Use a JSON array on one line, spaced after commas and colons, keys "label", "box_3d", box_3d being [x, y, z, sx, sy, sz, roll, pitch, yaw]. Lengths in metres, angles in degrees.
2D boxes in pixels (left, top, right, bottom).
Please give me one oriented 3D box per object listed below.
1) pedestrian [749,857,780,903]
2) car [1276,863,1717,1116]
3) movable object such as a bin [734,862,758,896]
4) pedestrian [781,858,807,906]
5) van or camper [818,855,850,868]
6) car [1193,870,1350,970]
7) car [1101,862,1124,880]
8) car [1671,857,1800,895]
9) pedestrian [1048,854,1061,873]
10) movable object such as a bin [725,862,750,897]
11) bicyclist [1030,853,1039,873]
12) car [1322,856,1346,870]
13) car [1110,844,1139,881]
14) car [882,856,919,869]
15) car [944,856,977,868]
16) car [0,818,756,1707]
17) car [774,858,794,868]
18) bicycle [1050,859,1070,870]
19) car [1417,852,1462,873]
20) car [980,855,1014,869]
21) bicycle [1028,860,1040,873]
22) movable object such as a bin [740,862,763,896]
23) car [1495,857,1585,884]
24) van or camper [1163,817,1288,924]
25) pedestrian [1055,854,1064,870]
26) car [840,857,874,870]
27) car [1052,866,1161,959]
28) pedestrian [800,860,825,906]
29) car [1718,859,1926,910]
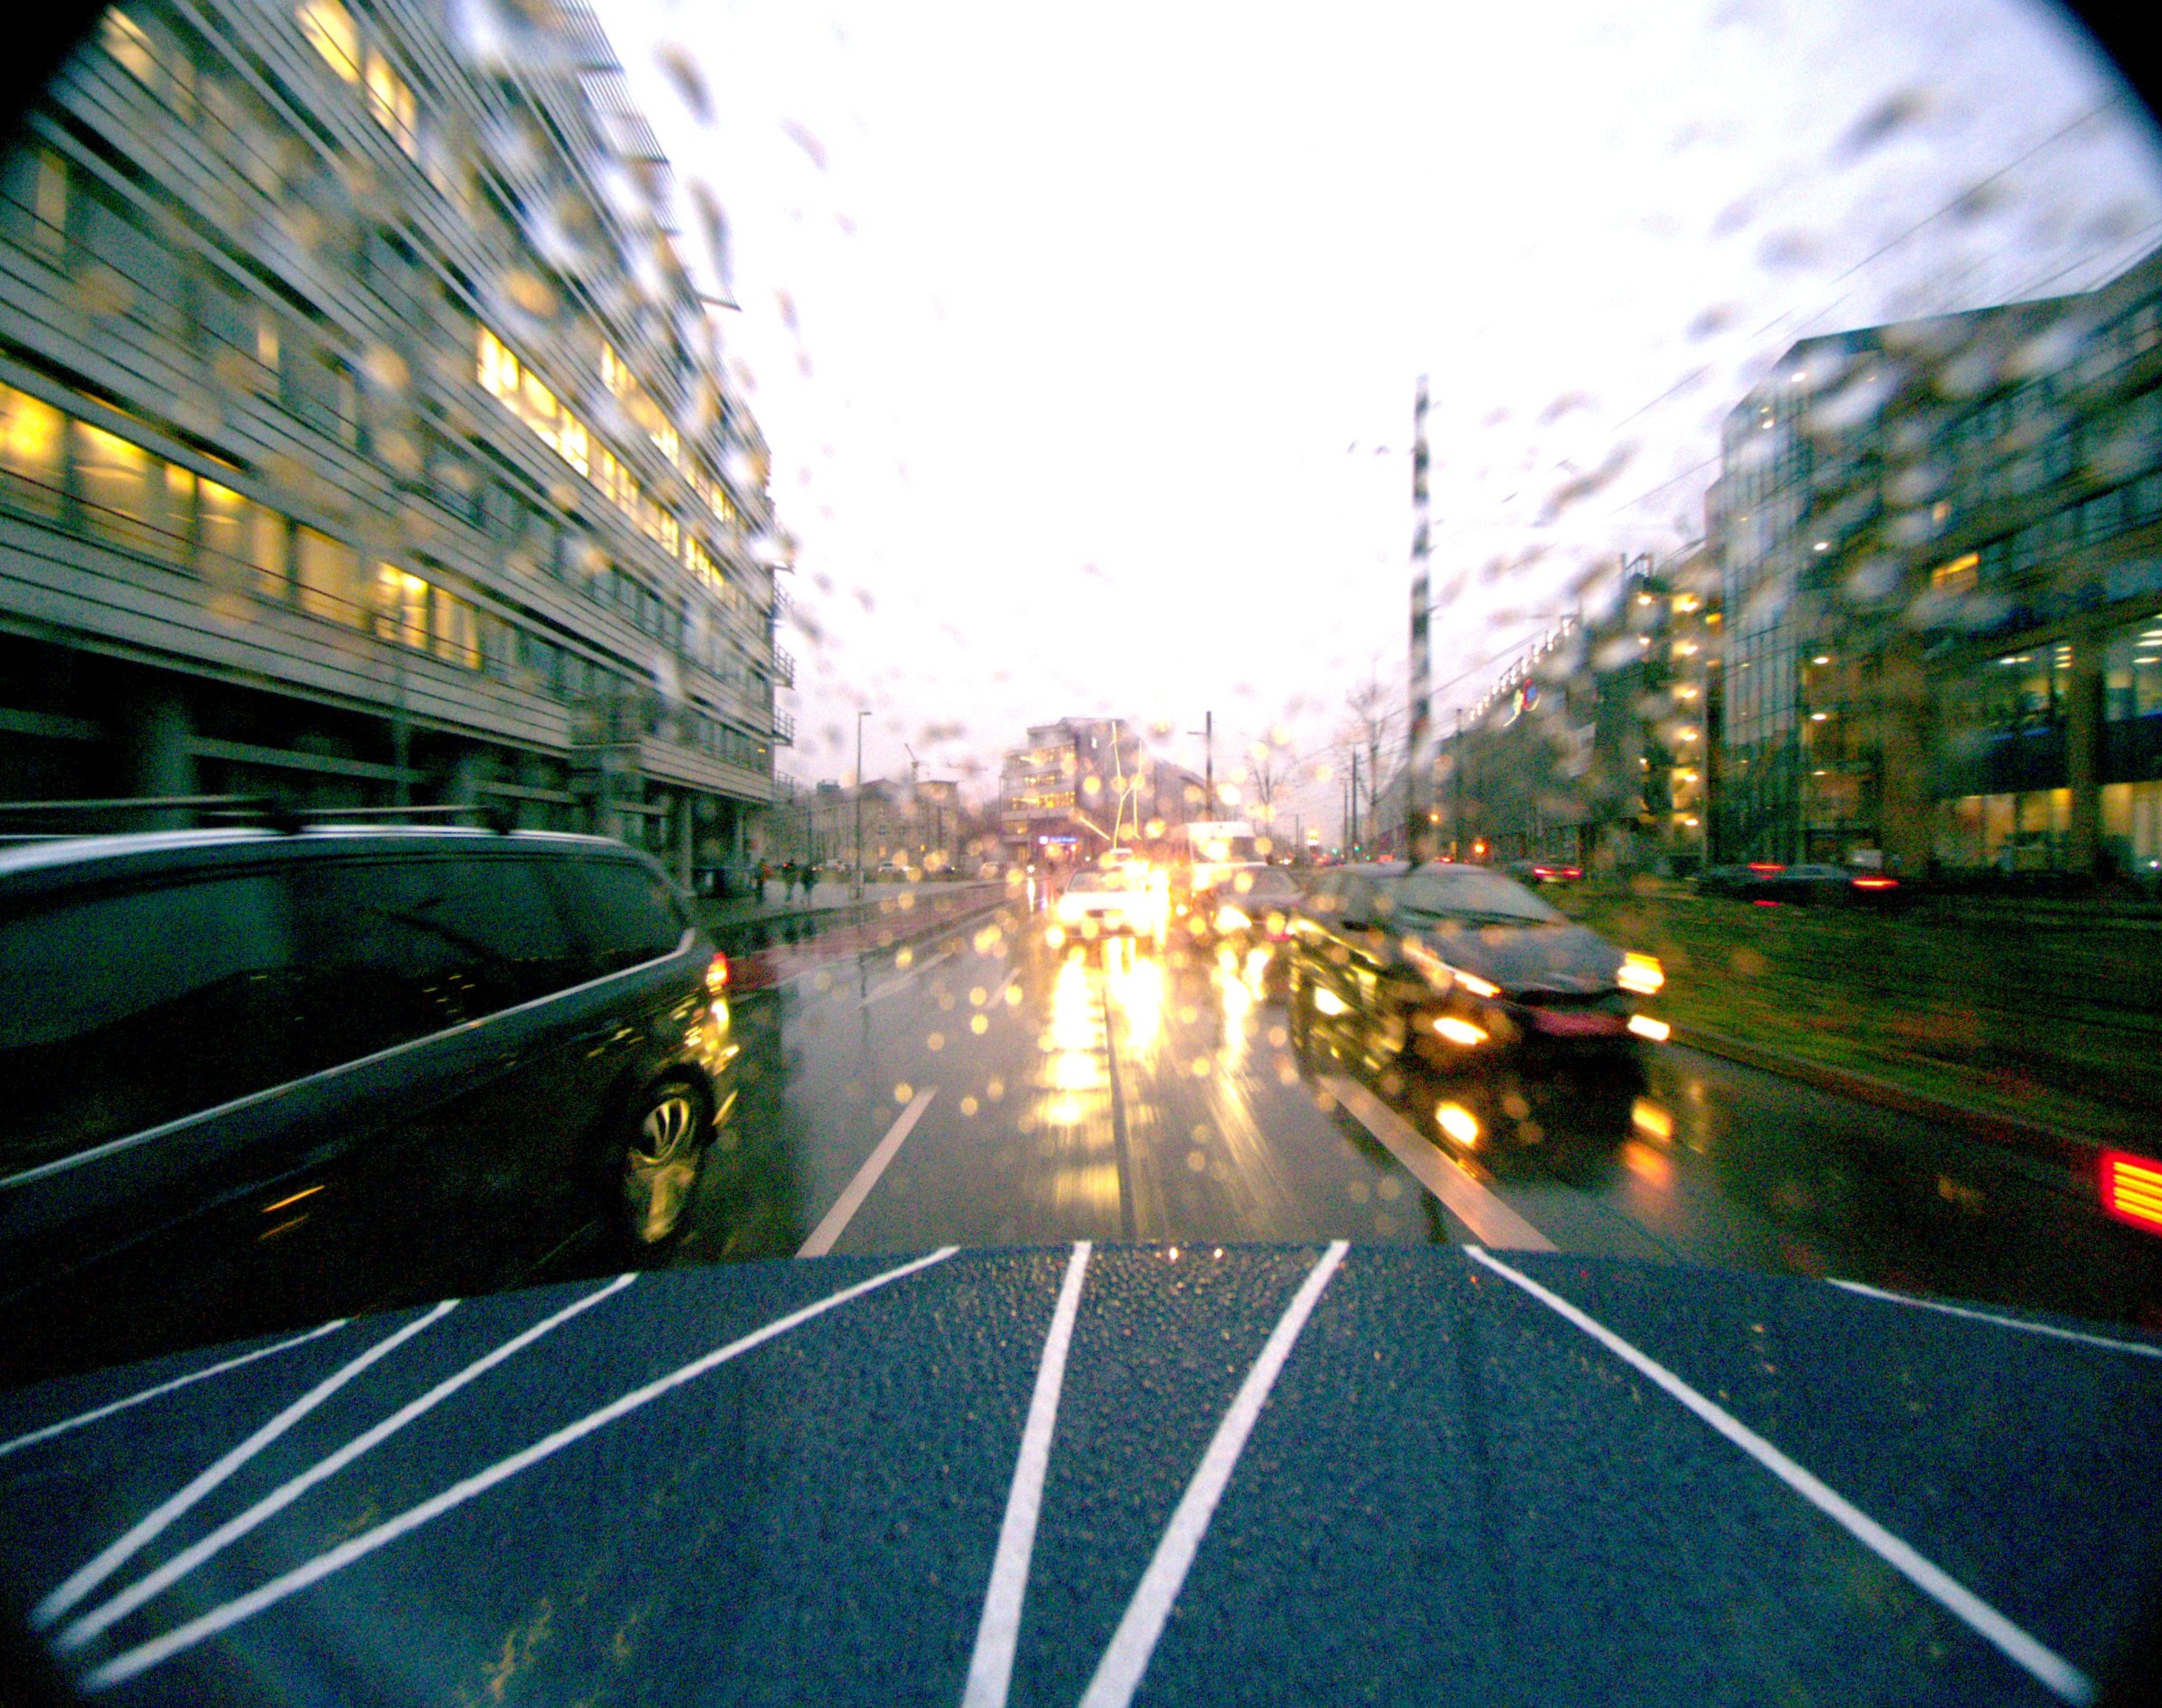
[{"label": "pedestrian", "box_3d": [-11.818, 0.956, 28.436, 0.747, 1.692, 0.968, 2, 0, -4]}, {"label": "car", "box_3d": [3.071, 0.854, 6.641, 1.634, 1.514, 3.941, 0, 0, -1]}, {"label": "movable object such as a bin", "box_3d": [-14.341, 1.076, 32.574, 0.666, 1.420, 0.840, -1, 0, -4]}, {"label": "pedestrian", "box_3d": [-10.580, 1.022, 28.047, 0.651, 1.692, 0.884, 1, 0, -4]}, {"label": "van or camper", "box_3d": [-39.617, 1.256, 121.881, 4.368, 1.839, 2.003, -4, -1, 20]}, {"label": "car", "box_3d": [3.035, 0.993, 12.958, 1.759, 1.337, 4.057, -1, 0, 2]}, {"label": "car", "box_3d": [3.416, 1.802, 82.826, 2.170, 1.744, 4.540, 1, 2, -1]}, {"label": "car", "box_3d": [28.009, 0.889, 32.712, 1.844, 1.495, 4.288, -1, 0, 0]}, {"label": "pedestrian", "box_3d": [-2.708, 0.972, 78.597, 1.119, 2.002, 1.034, 0, 1, 14]}, {"label": "movable object such as a bin", "box_3d": [-14.324, 1.058, 31.678, 0.666, 1.420, 0.840, -1, 0, -4]}, {"label": "bicyclist", "box_3d": [-4.238, 0.820, 68.878, 0.671, 1.787, 0.807, 0, 1, 8]}, {"label": "car", "box_3d": [27.709, 1.004, 83.340, 1.790, 1.412, 3.901, -1, 0, 8]}, {"label": "car", "box_3d": [3.577, 0.676, 61.336, 2.128, 2.847, 5.816, -1, 0, 5]}, {"label": "car", "box_3d": [-24.149, 1.159, 101.786, 4.368, 1.750, 2.002, -1, 0, 15]}, {"label": "car", "box_3d": [-15.697, 1.034, 98.960, 3.759, 1.528, 1.782, 0, 0, 16]}, {"label": "car", "box_3d": [-2.679, 0.871, 1.599, 1.887, 1.800, 4.671, -2, 0, 1]}, {"label": "car", "box_3d": [-50.102, 1.463, 128.364, 3.258, 1.671, 1.604, -1, 0, 35]}, {"label": "bicycle", "box_3d": [-2.323, 1.159, 83.514, 2.203, 1.182, 0.668, 0, 1, 5]}, {"label": "car", "box_3d": [25.060, 0.548, 53.262, 1.790, 1.412, 3.902, -1, 0, 9]}, {"label": "car", "box_3d": [-10.783, 1.022, 97.885, 3.918, 1.699, 1.782, -1, 0, 13]}, {"label": "bicycle", "box_3d": [-4.235, 1.118, 68.903, 0.680, 1.191, 1.762, 0, 0, 9]}, {"label": "movable object such as a bin", "box_3d": [-14.527, 1.084, 33.500, 0.666, 1.468, 0.840, -1, 0, -4]}, {"label": "car", "box_3d": [22.590, 0.784, 37.613, 1.844, 1.230, 4.374, -1, 0, 1]}, {"label": "van or camper", "box_3d": [3.759, 0.389, 20.982, 2.153, 2.517, 5.897, -1, 0, -2]}, {"label": "pedestrian", "box_3d": [-2.388, 0.865, 83.492, 0.892, 1.783, 0.668, 0, 1, 4]}, {"label": "car", "box_3d": [-30.644, 1.267, 103.990, 3.997, 1.663, 2.002, -1, 0, 15]}, {"label": "car", "box_3d": [0.400, 0.992, 14.496, 1.782, 1.464, 3.943, -1, 0, -1]}, {"label": "pedestrian", "box_3d": [-9.912, 1.057, 28.081, 0.616, 1.659, 0.884, 1, 0, -4]}, {"label": "car", "box_3d": [22.274, 0.857, 23.136, 1.630, 1.322, 4.565, -2, 0, -5]}]
